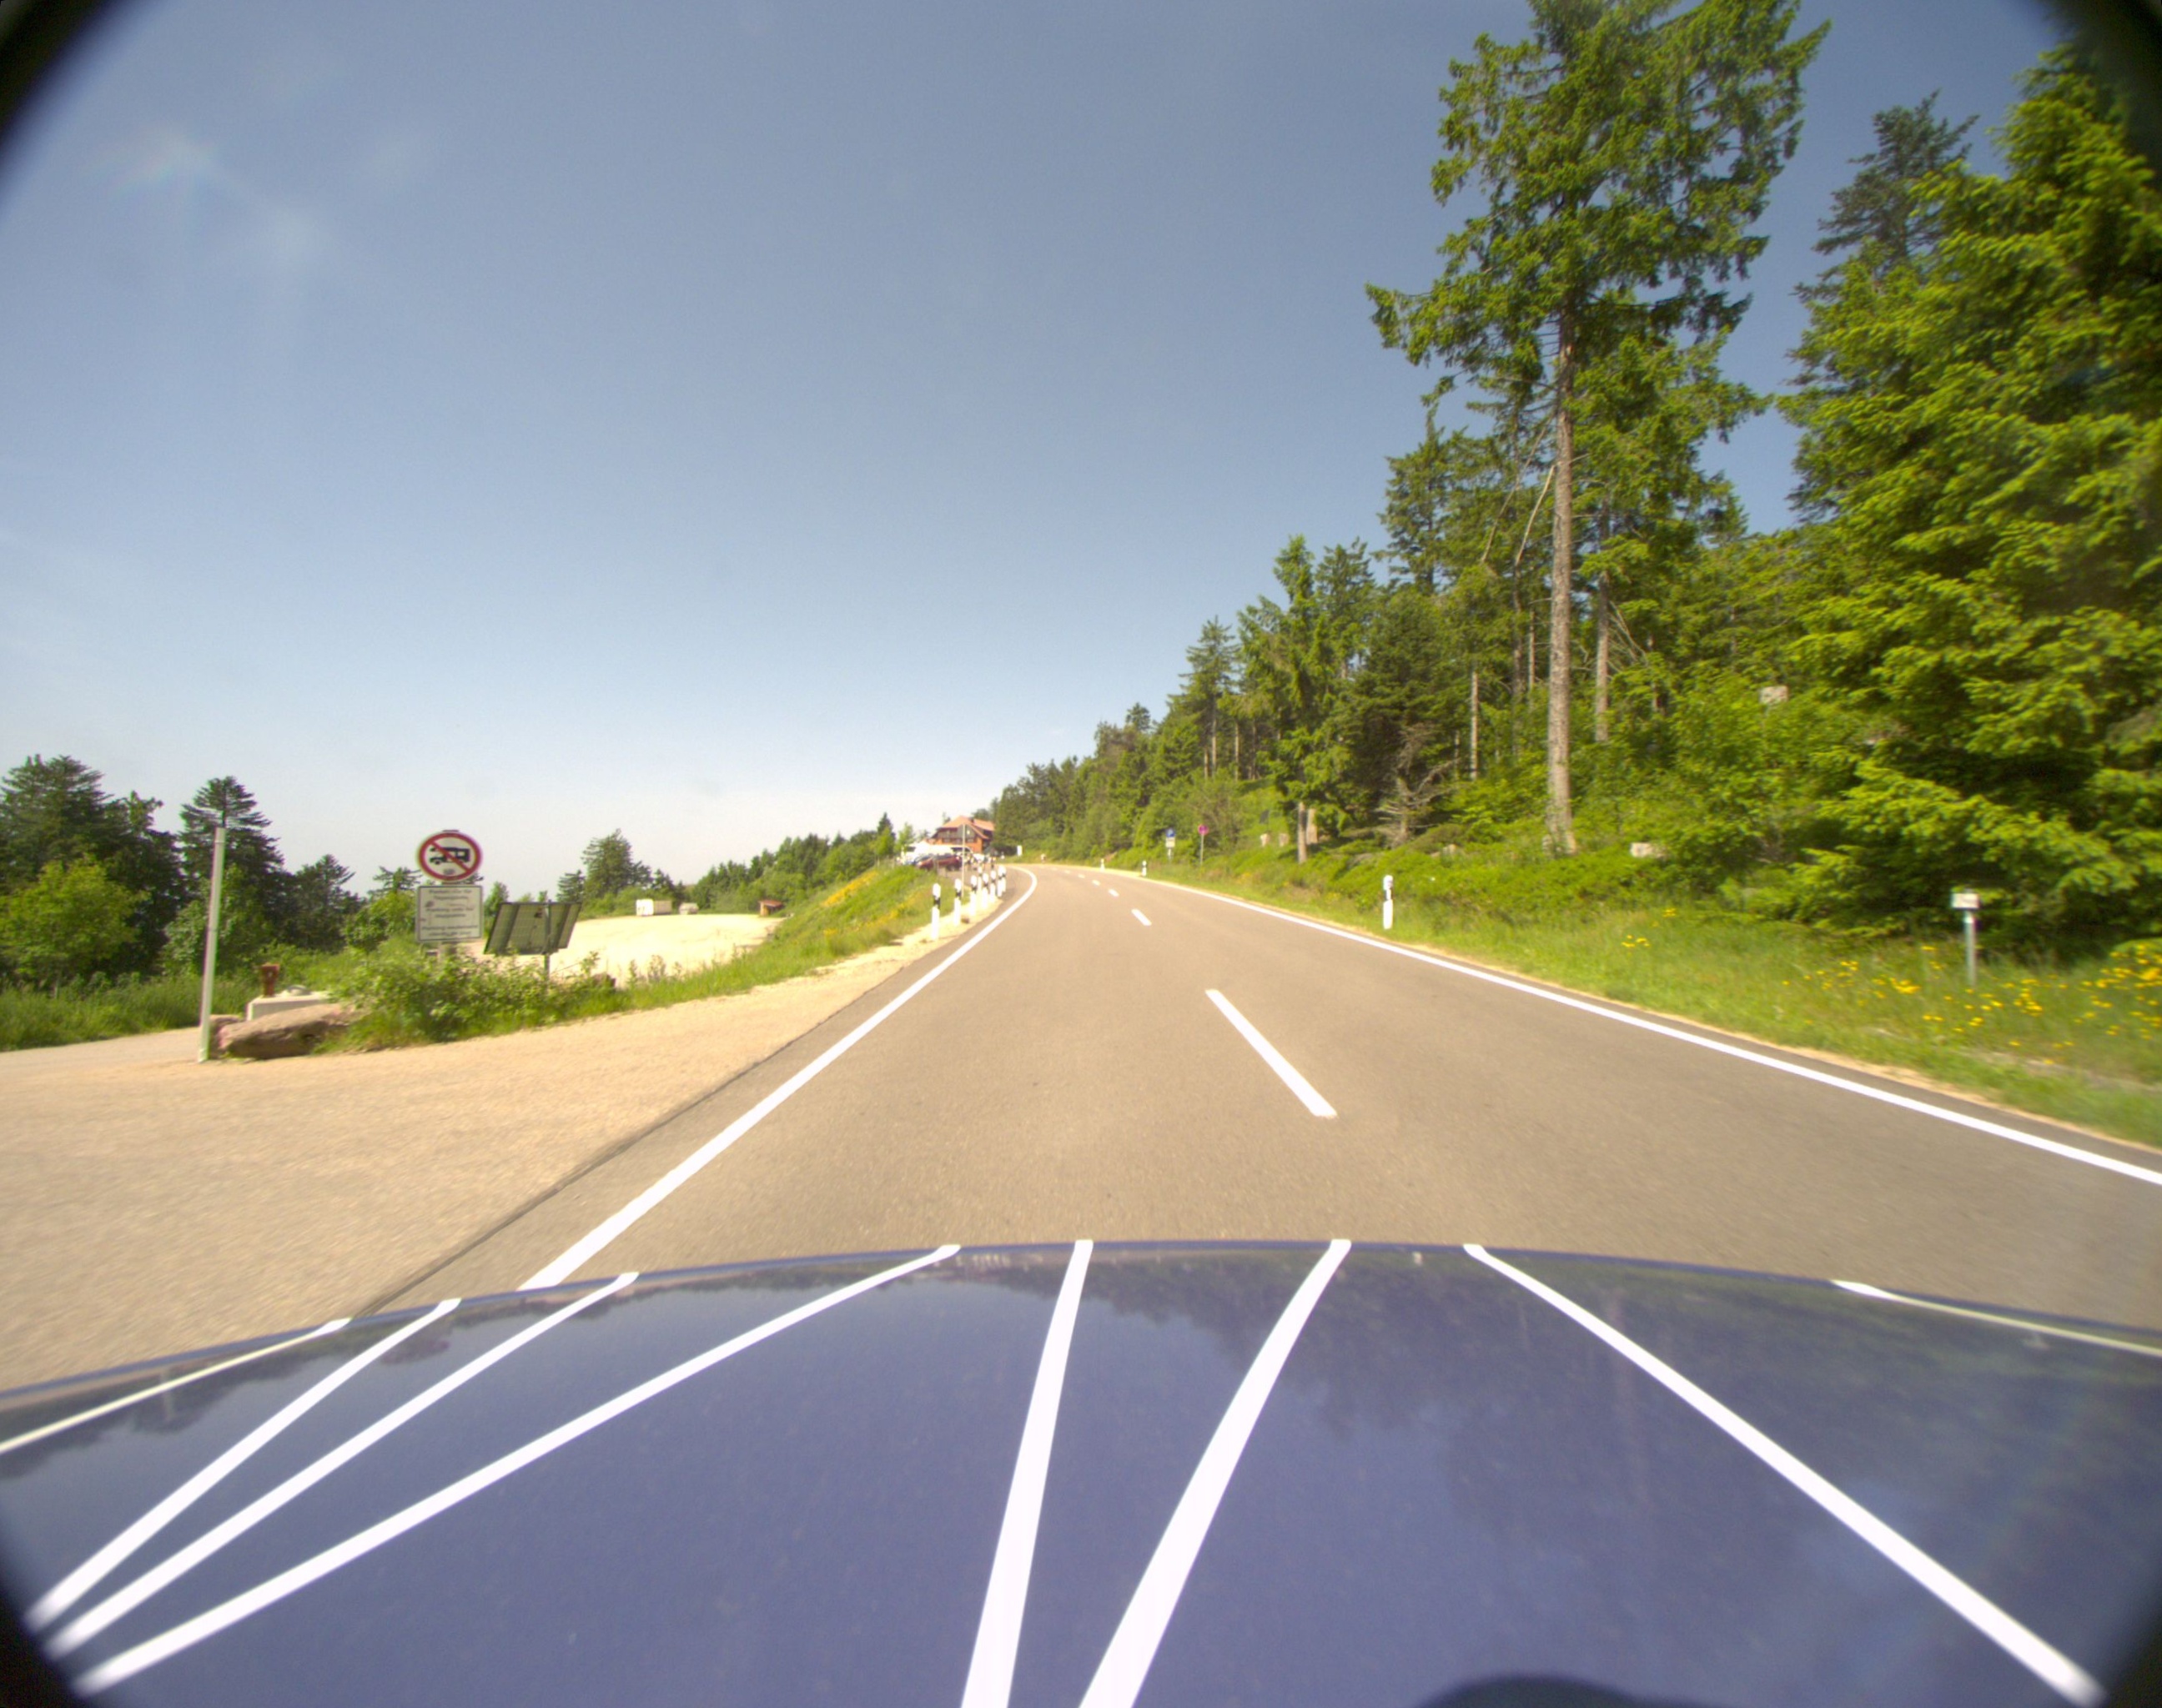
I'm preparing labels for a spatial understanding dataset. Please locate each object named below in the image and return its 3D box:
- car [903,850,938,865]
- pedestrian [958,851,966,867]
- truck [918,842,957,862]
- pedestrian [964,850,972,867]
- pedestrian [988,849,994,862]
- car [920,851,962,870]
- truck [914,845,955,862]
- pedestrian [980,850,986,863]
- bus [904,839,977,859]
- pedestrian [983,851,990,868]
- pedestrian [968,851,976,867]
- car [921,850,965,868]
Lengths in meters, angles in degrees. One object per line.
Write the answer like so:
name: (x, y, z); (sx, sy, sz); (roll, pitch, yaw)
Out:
car: (-19.477, 0.434, 92.216); (4.002, 1.637, 1.598); (-3, 1, -15)
pedestrian: (-11.914, 0.510, 76.251); (0.618, 1.577, 0.736); (0, -1, 8)
truck: (-23.330, -0.262, 123.794); (6.086, 3.177, 2.529); (0, 0, -14)
pedestrian: (-11.202, 0.478, 75.220); (0.654, 1.650, 0.688); (1, -1, 1)
pedestrian: (-12.373, 0.242, 104.442); (0.755, 1.750, 0.775); (0, 0, 2)
car: (-13.778, 0.612, 74.587); (3.831, 1.651, 1.650); (-2, 1, -16)
truck: (-23.189, -0.046, 120.360); (6.283, 2.575, 2.338); (0, 0, -12)
pedestrian: (-13.462, 0.346, 104.313); (0.666, 1.731, 0.894); (0, 0, 2)
bus: (-25.633, -0.852, 138.866); (12.892, 3.556, 2.836); (0, 0, -11)
pedestrian: (-9.543, 0.565, 76.721); (0.619, 1.765, 0.723); (-1, 1, -5)
pedestrian: (-11.033, 0.493, 76.742); (0.718, 1.682, 0.618); (-1, 1, -5)
car: (-14.239, 0.527, 78.404); (4.276, 1.783, 1.891); (0, 1, -4)
